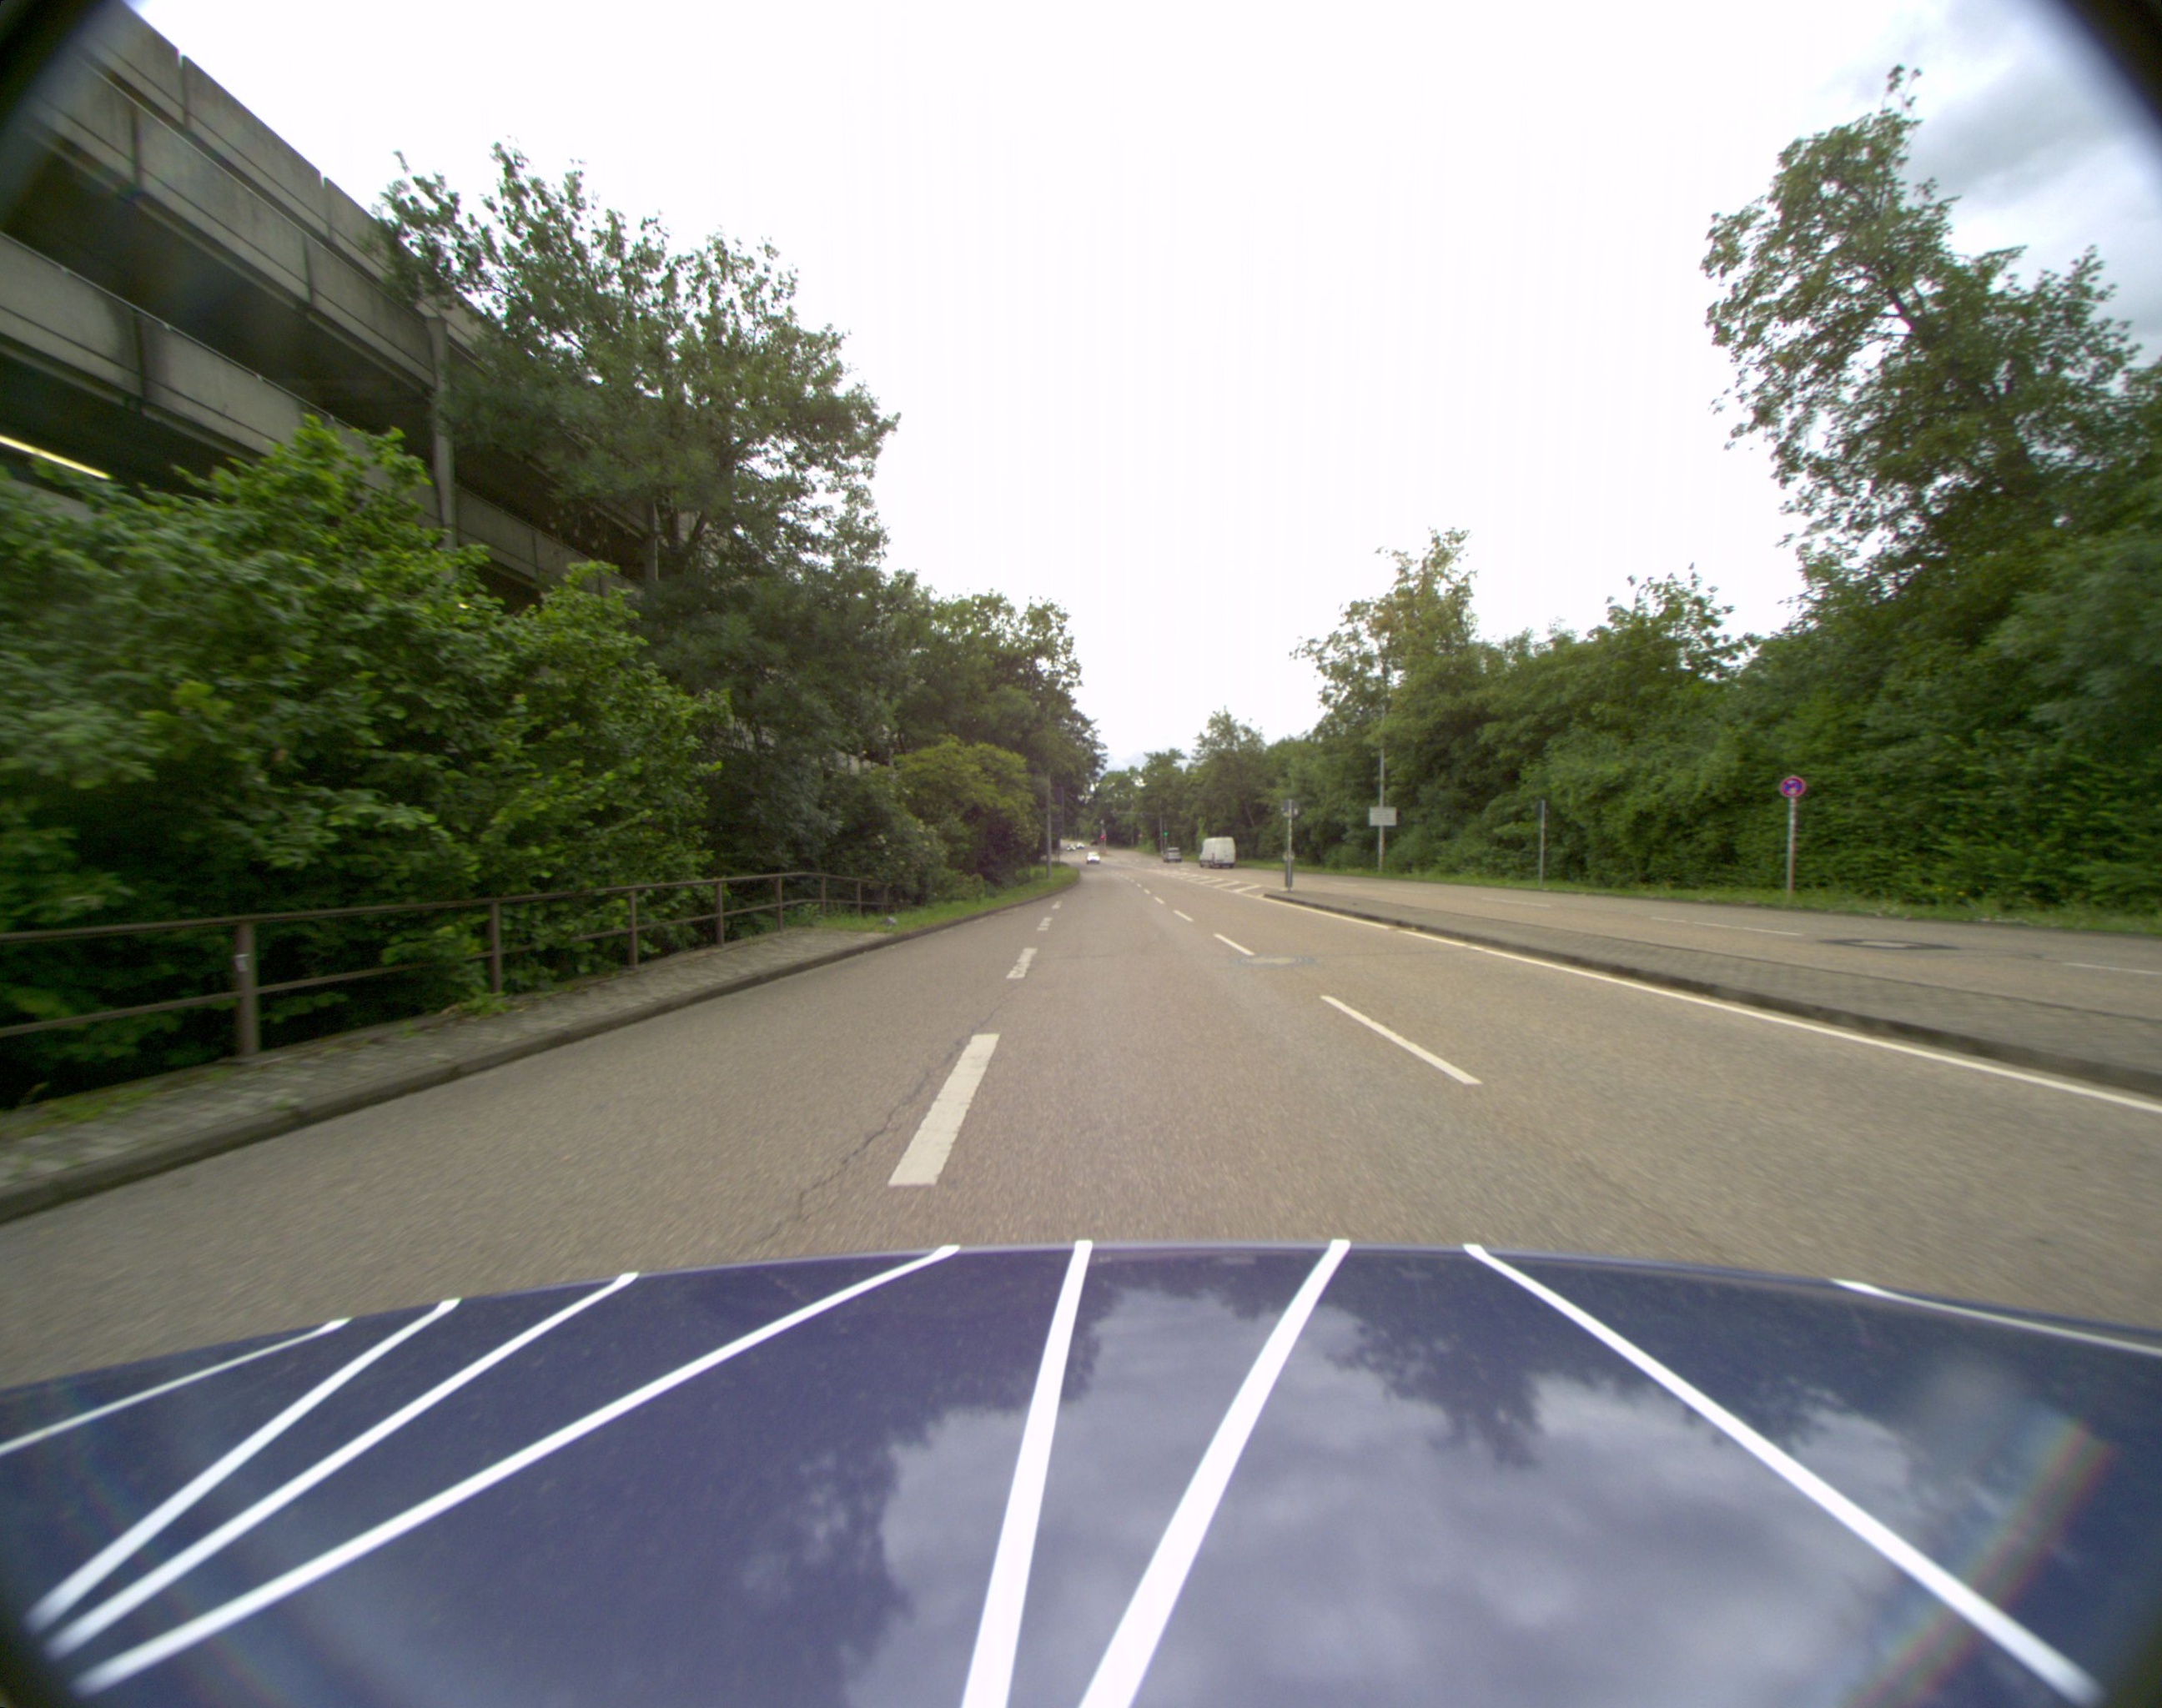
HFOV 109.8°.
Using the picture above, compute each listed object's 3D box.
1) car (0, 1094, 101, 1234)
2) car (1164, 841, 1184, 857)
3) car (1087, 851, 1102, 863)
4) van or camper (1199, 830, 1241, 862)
[{"bbox_3d":[-15.878,4.087,9.407,4.664,1.422,1.998,-1,3,-2],"label":"car"},{"bbox_3d":[11.447,-0.611,94.051,1.818,1.819,4.383,-1,0,-2],"label":"car"},{"bbox_3d":[1.762,0.357,98.586,1.854,1.471,4.509,-1,1,-1],"label":"car"},{"bbox_3d":[11.948,-0.672,65.777,2.289,2.540,6.858,-1,1,0],"label":"van or camper"}]
